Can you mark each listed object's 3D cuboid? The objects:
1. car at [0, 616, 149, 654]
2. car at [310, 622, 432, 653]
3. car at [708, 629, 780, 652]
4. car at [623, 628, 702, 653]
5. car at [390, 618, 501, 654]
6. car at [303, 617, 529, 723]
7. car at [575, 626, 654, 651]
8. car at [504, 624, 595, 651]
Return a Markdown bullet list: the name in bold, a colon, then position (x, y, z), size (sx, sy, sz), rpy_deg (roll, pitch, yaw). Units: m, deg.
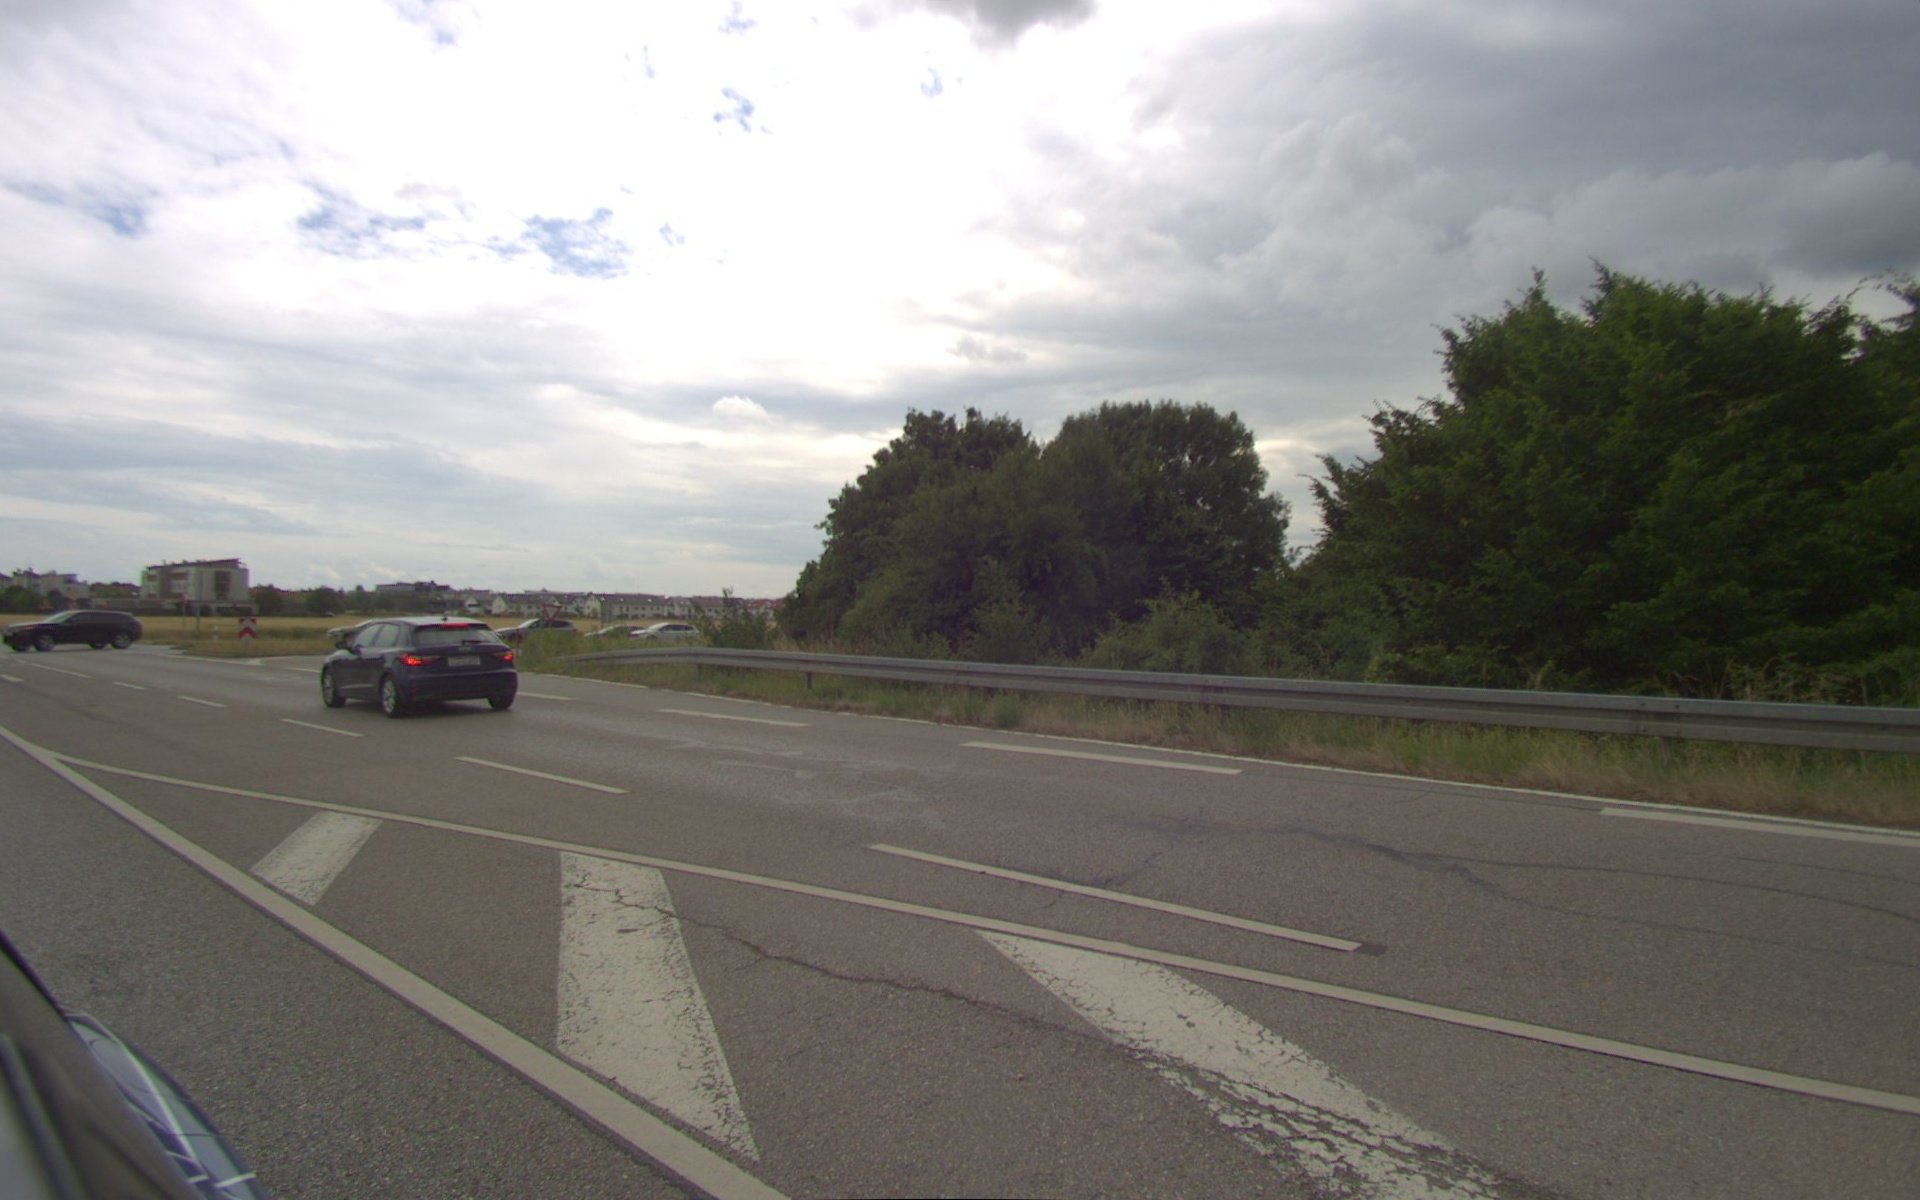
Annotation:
- **car**: position (-37.886, 1.481, 43.217), size (1.901, 1.543, 4.713), rpy_deg (0, -2, 26)
- **car**: position (-30.824, 1.947, 53.038), size (5.221, 1.533, 1.913), rpy_deg (2, -2, -42)
- **car**: position (-14.522, 2.713, 68.169), size (4.437, 1.493, 1.913), rpy_deg (2, -2, -42)
- **car**: position (-18.780, 2.563, 64.044), size (4.437, 1.493, 1.913), rpy_deg (2, -2, -42)
- **car**: position (-24.451, 1.672, 48.220), size (1.707, 1.623, 4.421), rpy_deg (-1, -2, 40)
- **car**: position (-8.454, 0.987, 15.594), size (3.999, 1.387, 1.842), rpy_deg (-2, -1, 42)
- **car**: position (-21.903, 2.437, 64.304), size (4.344, 1.493, 1.913), rpy_deg (2, -2, -42)
- **car**: position (-24.062, 2.164, 59.351), size (4.568, 1.528, 1.913), rpy_deg (2, -2, -42)
